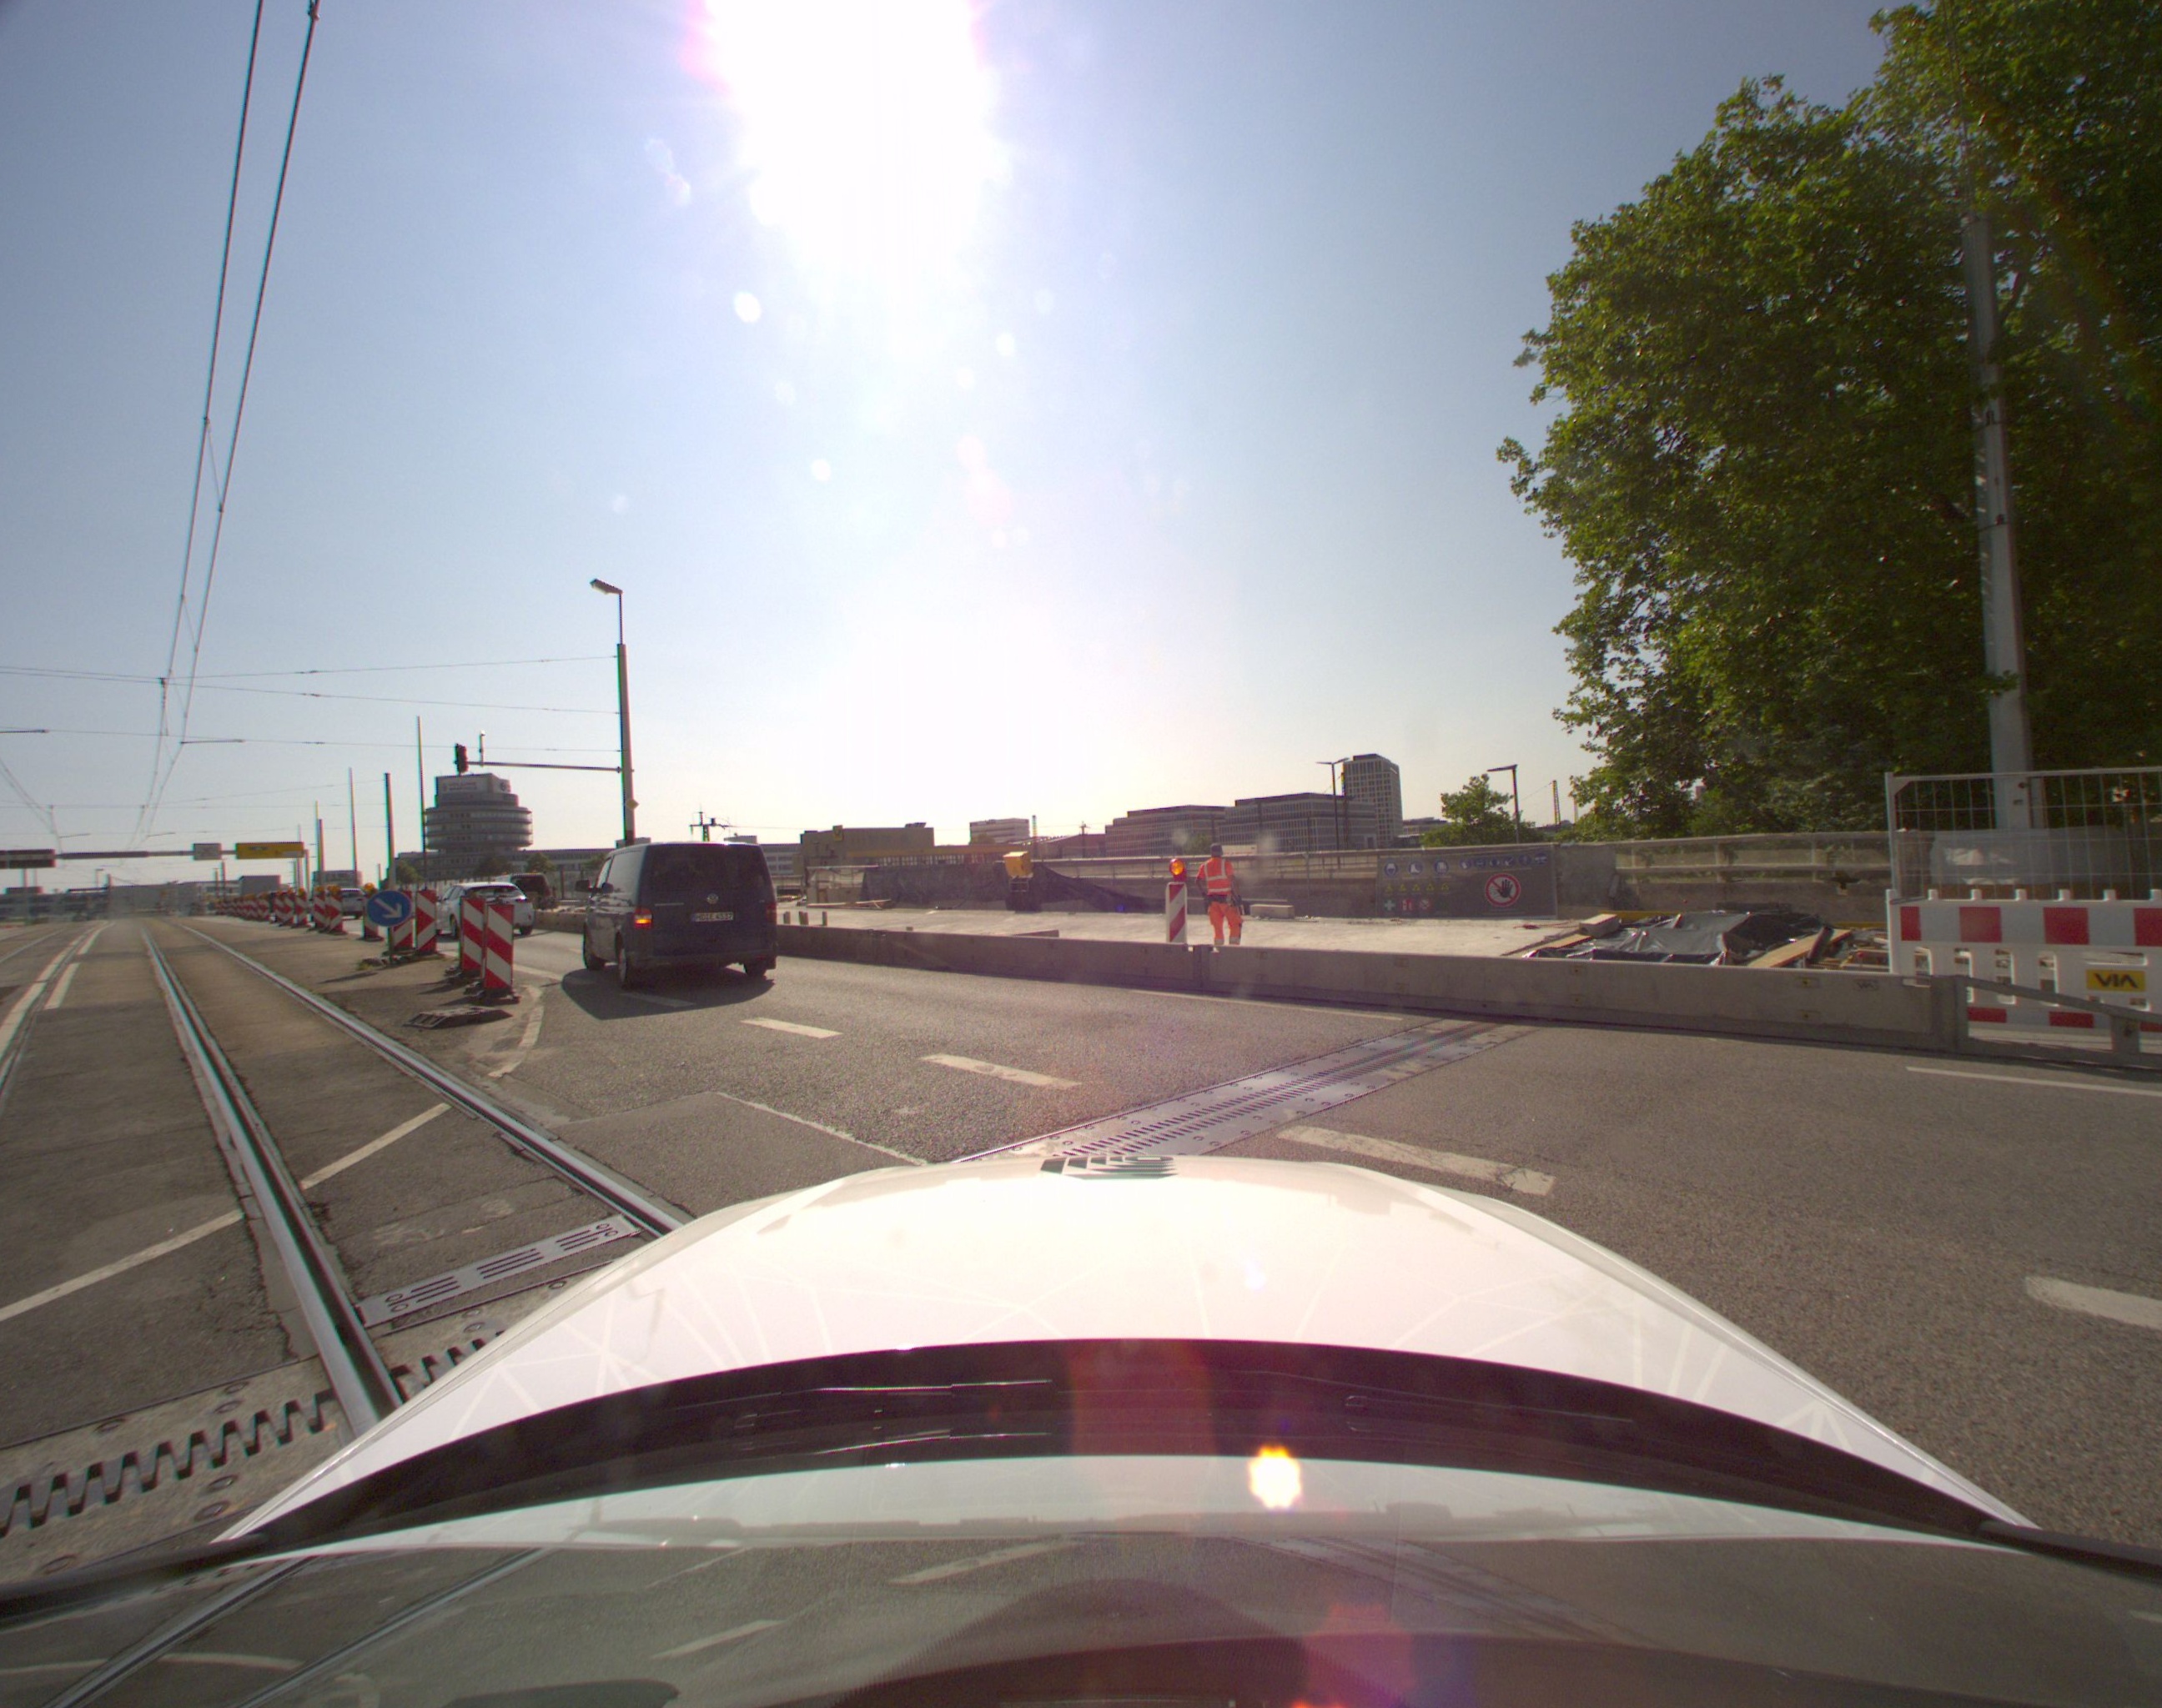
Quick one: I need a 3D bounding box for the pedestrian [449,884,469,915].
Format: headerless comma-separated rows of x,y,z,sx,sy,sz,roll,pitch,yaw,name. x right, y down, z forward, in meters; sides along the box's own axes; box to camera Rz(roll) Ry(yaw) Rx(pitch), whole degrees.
-41.837,3.056,54.758,0.789,1.934,0.789,-5,0,41,pedestrian

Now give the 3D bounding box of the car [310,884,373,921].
-34.693,2.249,38.176,3.650,1.532,1.734,-3,0,41,car

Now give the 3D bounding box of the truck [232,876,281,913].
-77.307,3.759,76.284,11.072,3.134,2.484,-3,0,42,truck

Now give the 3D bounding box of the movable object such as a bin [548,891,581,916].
-24.388,2.337,38.453,0.937,1.074,0.891,-3,-1,-2,movable object such as a bin

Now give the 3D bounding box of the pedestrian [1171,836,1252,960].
2.025,0.663,12.603,0.811,1.794,0.869,-3,1,37,pedestrian

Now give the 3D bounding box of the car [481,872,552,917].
-28.124,2.030,40.505,4.828,2.033,1.896,-4,-2,43,car

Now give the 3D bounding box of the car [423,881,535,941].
-16.310,1.503,22.023,3.368,1.405,1.734,-3,0,41,car

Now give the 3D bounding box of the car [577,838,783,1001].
-6.082,0.834,12.094,1.831,1.905,4.007,-4,1,-38,car
